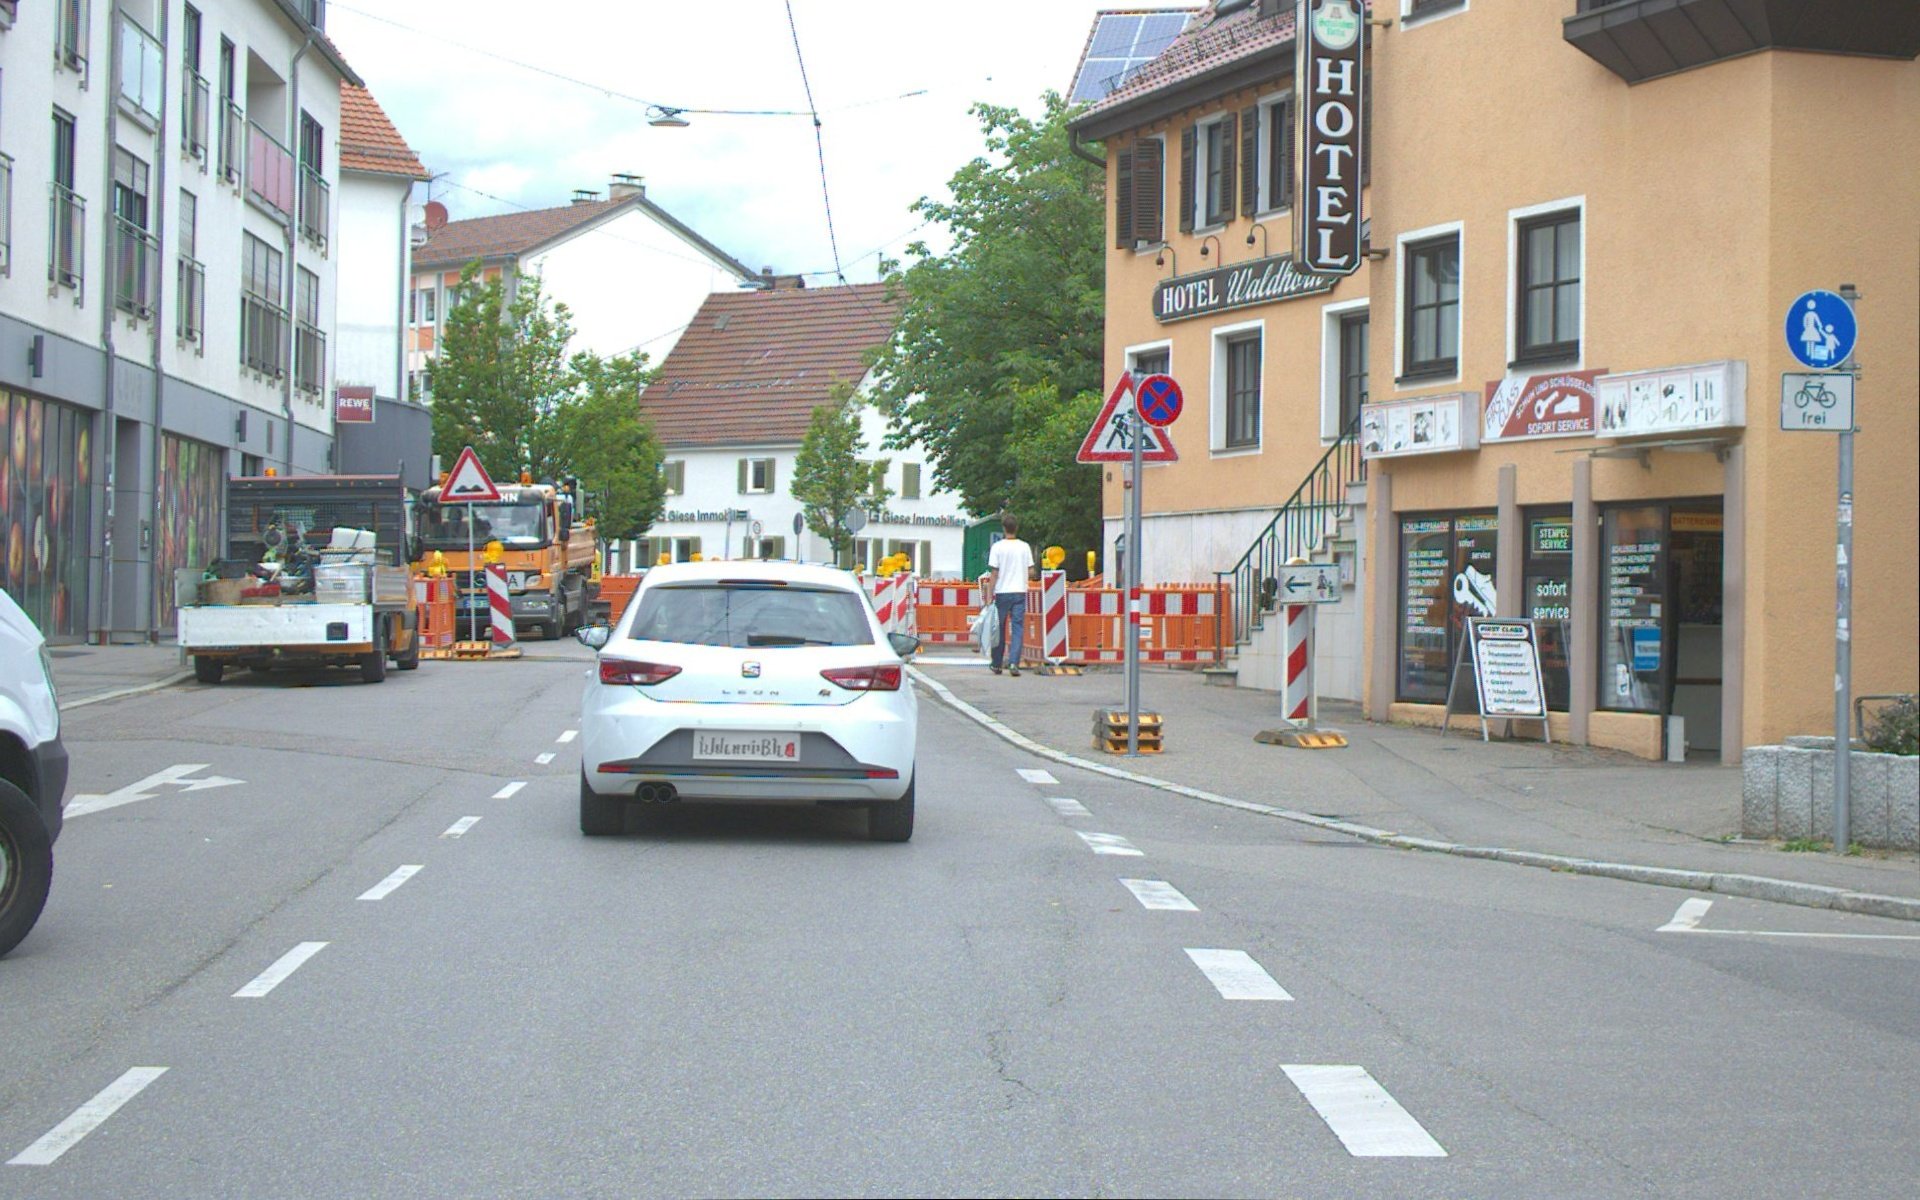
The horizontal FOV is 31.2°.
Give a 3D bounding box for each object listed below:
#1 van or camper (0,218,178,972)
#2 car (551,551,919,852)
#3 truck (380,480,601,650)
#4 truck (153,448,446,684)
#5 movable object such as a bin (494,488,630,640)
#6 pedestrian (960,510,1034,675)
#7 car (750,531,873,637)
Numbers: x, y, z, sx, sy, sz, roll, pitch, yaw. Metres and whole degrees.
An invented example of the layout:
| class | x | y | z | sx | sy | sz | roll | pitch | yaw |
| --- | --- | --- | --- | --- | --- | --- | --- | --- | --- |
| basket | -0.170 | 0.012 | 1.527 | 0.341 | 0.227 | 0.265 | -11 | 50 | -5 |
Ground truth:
| class | x | y | z | sx | sy | sz | roll | pitch | yaw |
| --- | --- | --- | --- | --- | --- | --- | --- | --- | --- |
| van or camper | -4.788 | 0.000 | 10.444 | 2.320 | 2.598 | 6.204 | 0 | 1 | 12 |
| car | -1.202 | 0.479 | 18.939 | 1.811 | 1.475 | 3.871 | 0 | 1 | -3 |
| truck | -7.936 | -0.611 | 58.898 | 2.731 | 2.715 | 6.848 | 0 | 1 | 1 |
| truck | -7.373 | -0.412 | 39.087 | 2.413 | 2.457 | 6.308 | 0 | 1 | -3 |
| movable object such as a bin | -7.476 | -0.626 | 64.928 | 1.839 | 2.754 | 4.505 | 1 | -1 | 2 |
| pedestrian | 0.436 | -0.091 | 40.912 | 0.798 | 1.943 | 0.836 | 0 | 1 | -5 |
| car | -2.883 | -0.304 | 67.590 | 1.994 | 2.007 | 3.999 | 1 | 0 | 4 |
